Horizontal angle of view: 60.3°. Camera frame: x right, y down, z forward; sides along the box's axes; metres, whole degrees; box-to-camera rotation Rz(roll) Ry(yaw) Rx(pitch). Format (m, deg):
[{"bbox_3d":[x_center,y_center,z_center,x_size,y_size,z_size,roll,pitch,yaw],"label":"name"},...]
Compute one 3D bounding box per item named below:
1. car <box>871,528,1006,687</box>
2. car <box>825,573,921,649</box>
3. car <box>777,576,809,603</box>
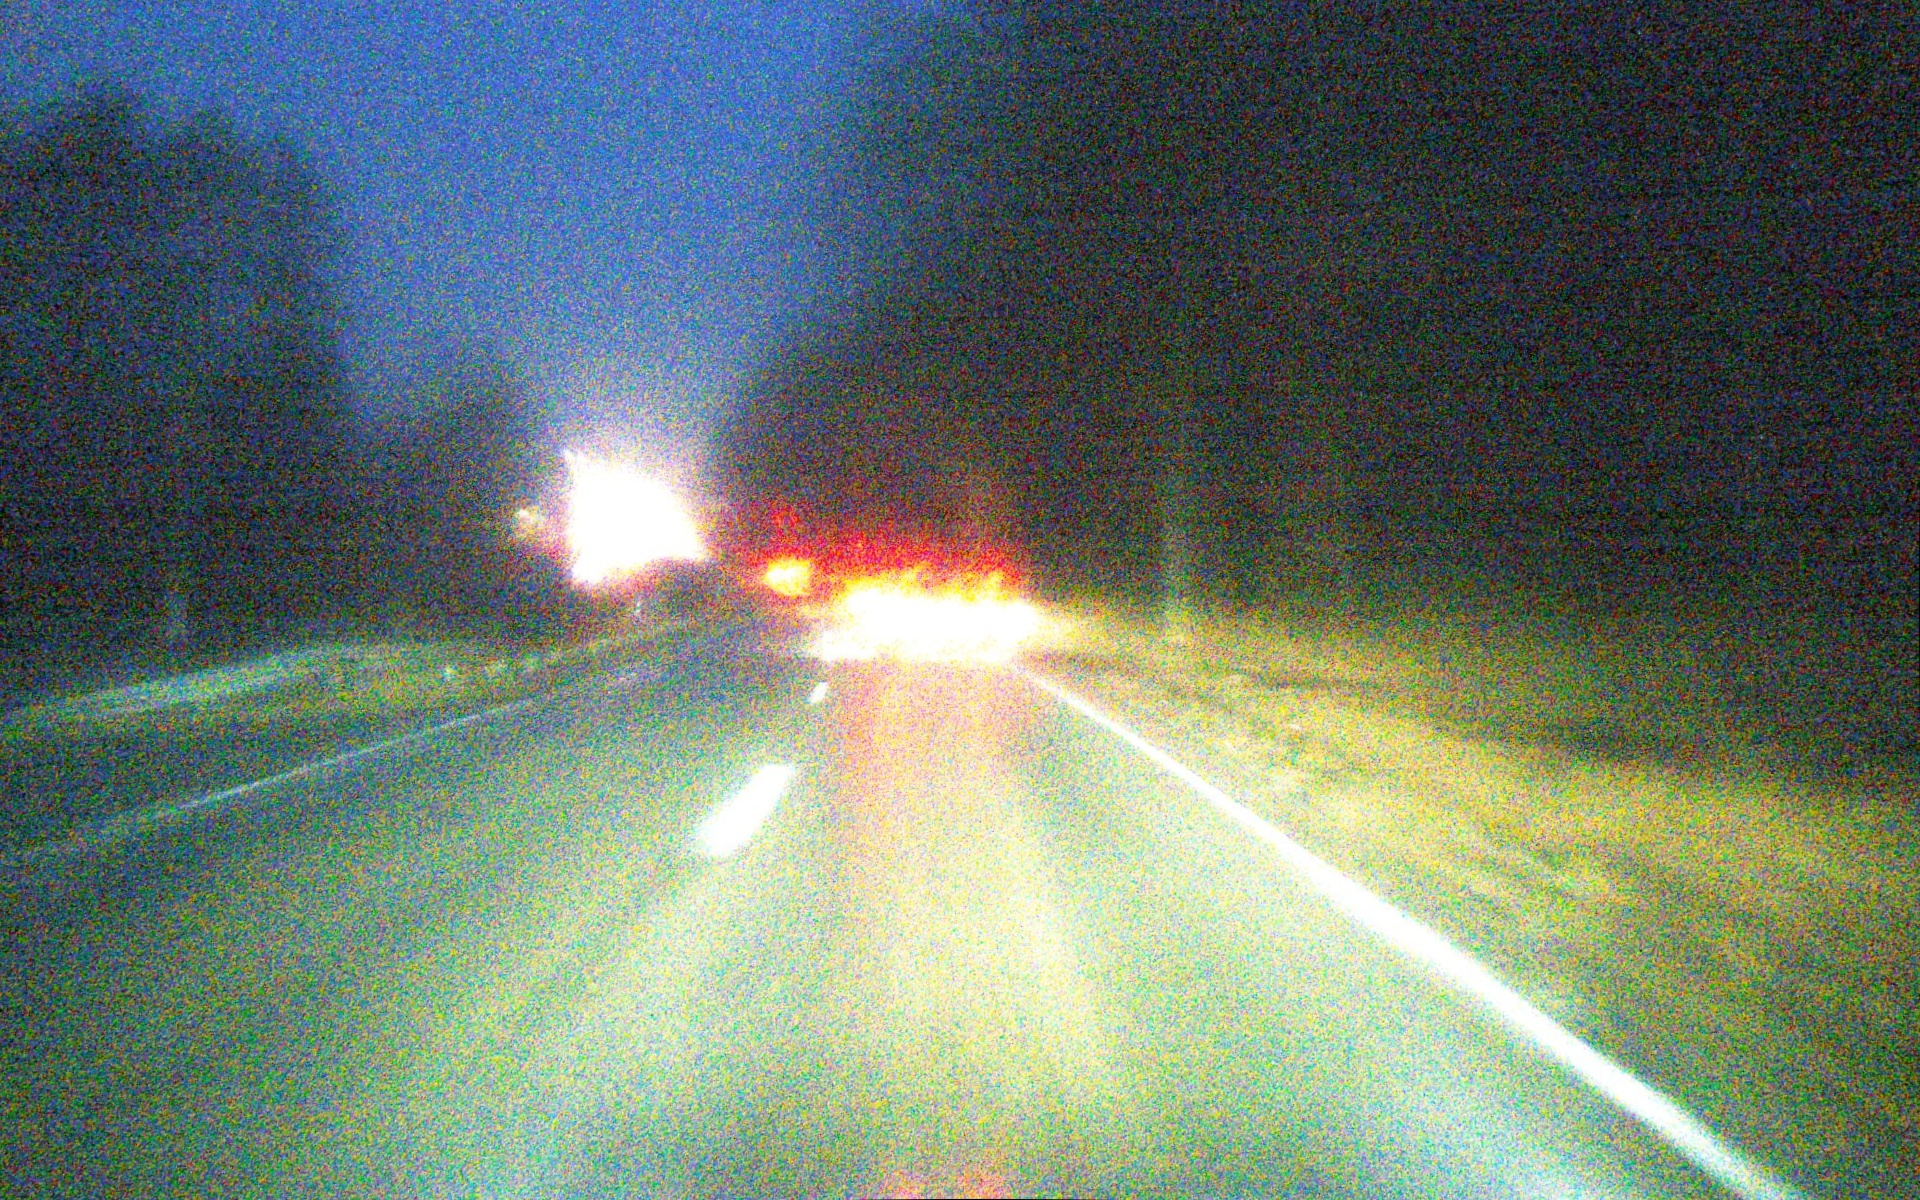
[{"bbox_3d":[-0.491,0.059,30.444,2.138,2.601,4.505,3,2,-4],"label":"car"},{"bbox_3d":[-3.404,0.349,66.880,3.312,2.601,7.337,3,2,0],"label":"car"},{"bbox_3d":[-13.081,-0.810,129.763,1.953,2.049,4.000,-2,0,0],"label":"car"}]
